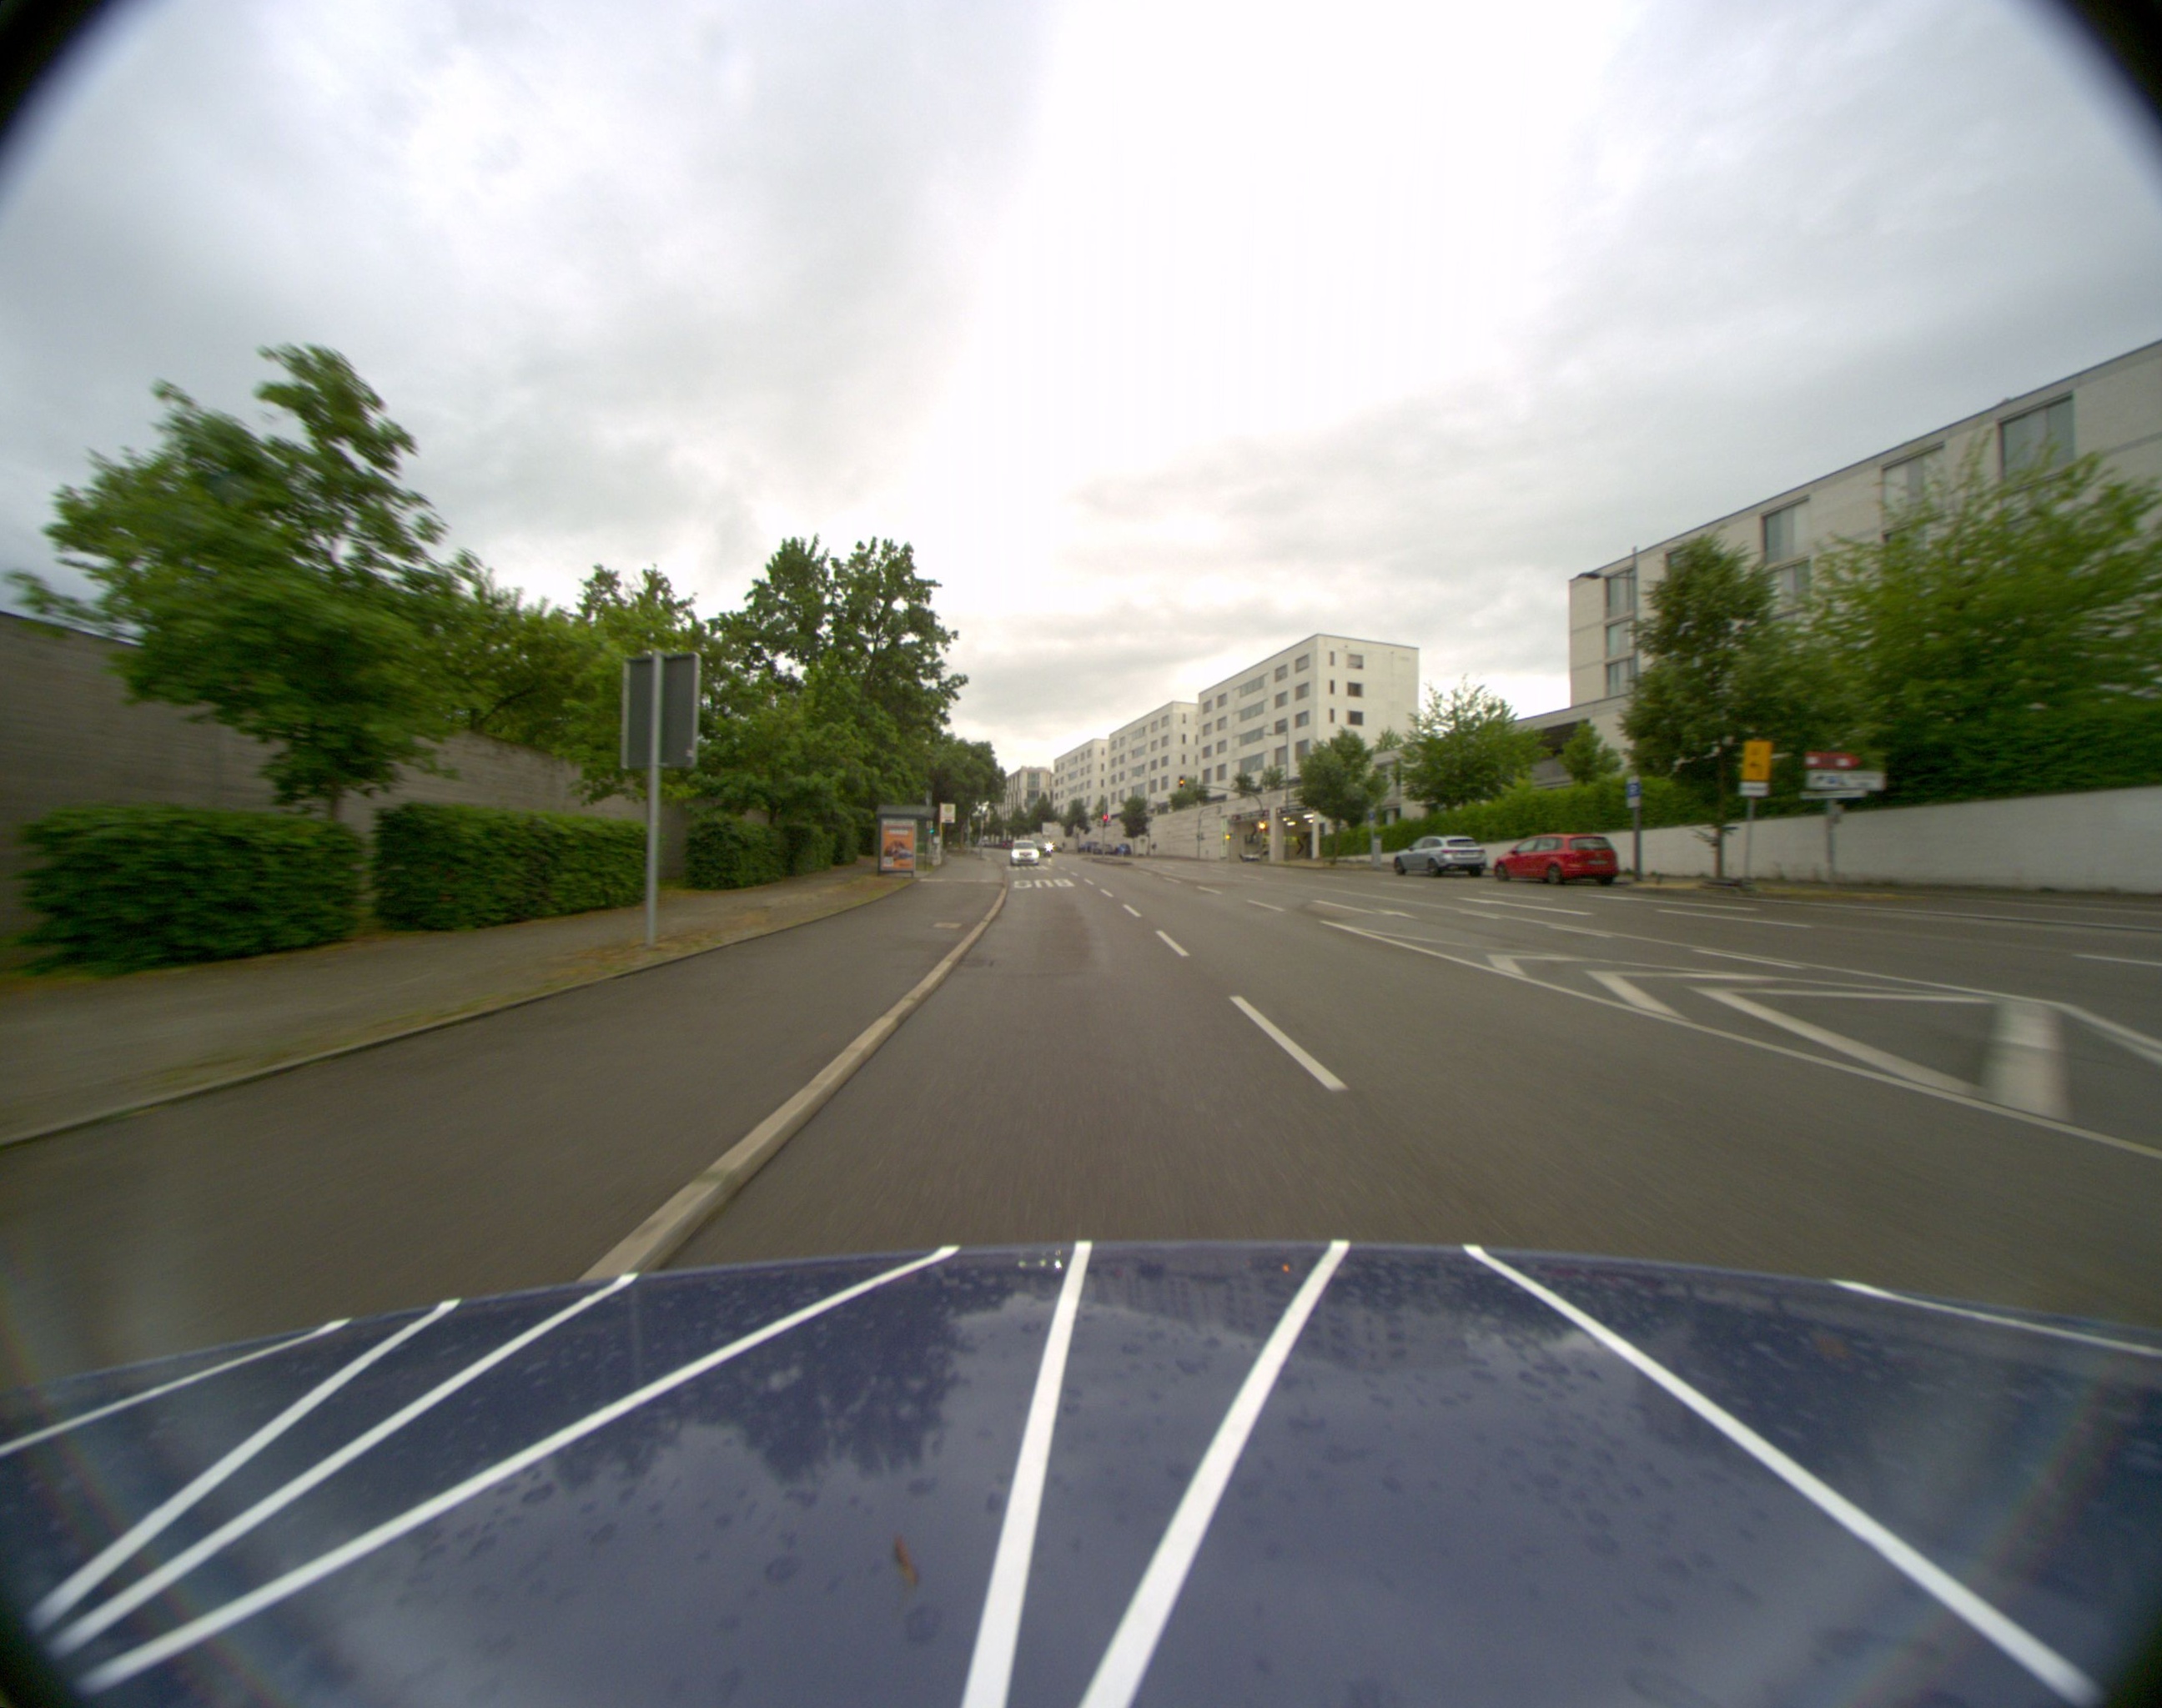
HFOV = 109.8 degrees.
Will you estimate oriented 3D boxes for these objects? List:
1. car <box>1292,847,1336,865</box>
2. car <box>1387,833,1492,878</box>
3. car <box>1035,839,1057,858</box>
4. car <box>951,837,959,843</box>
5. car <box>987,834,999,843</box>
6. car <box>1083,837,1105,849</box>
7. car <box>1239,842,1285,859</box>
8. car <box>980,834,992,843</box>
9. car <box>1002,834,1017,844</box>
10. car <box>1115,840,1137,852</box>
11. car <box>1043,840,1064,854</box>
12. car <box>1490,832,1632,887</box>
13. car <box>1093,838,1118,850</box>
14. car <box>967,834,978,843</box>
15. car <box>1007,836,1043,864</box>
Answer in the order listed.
[{"bbox_3d":[23.878,0.163,77.889,4.003,1.762,1.797,1,1,-17],"label":"car"},{"bbox_3d":[14.527,0.008,31.137,1.769,1.644,4.881,-1,1,-3],"label":"car"},{"bbox_3d":[-3.143,-0.503,68.179,1.830,1.584,4.000,-1,0,-1],"label":"car"},{"bbox_3d":[-38.085,-4.298,230.165,2.001,1.740,3.994,0,1,-14],"label":"car"},{"bbox_3d":[-19.865,-3.457,170.876,1.927,2.002,4.380,-1,0,-17],"label":"car"},{"bbox_3d":[1.757,-1.482,104.758,1.792,1.622,3.992,1,1,-20],"label":"car"},{"bbox_3d":[18.996,-0.344,79.698,4.351,1.642,1.996,1,1,-21],"label":"car"},{"bbox_3d":[-22.074,-3.553,176.861,1.927,2.002,4.380,-1,0,-17],"label":"car"},{"bbox_3d":[-13.486,-2.897,142.600,1.967,1.829,4.441,1,1,-16],"label":"car"},{"bbox_3d":[5.635,-0.996,95.445,1.683,1.450,2.691,1,1,-21],"label":"car"},{"bbox_3d":[-4.128,-1.073,113.515,1.927,2.002,4.380,-1,0,-17],"label":"car"},{"bbox_3d":[15.047,0.118,24.124,1.669,1.578,4.215,0,1,-3],"label":"car"},{"bbox_3d":[3.237,-1.320,100.624,1.865,1.469,3.992,0,1,-20],"label":"car"},{"bbox_3d":[-25.512,-3.663,178.659,2.001,2.002,3.993,1,1,-16],"label":"car"},{"bbox_3d":[-3.484,-0.209,47.850,1.927,1.652,4.001,0,-1,0],"label":"car"}]
